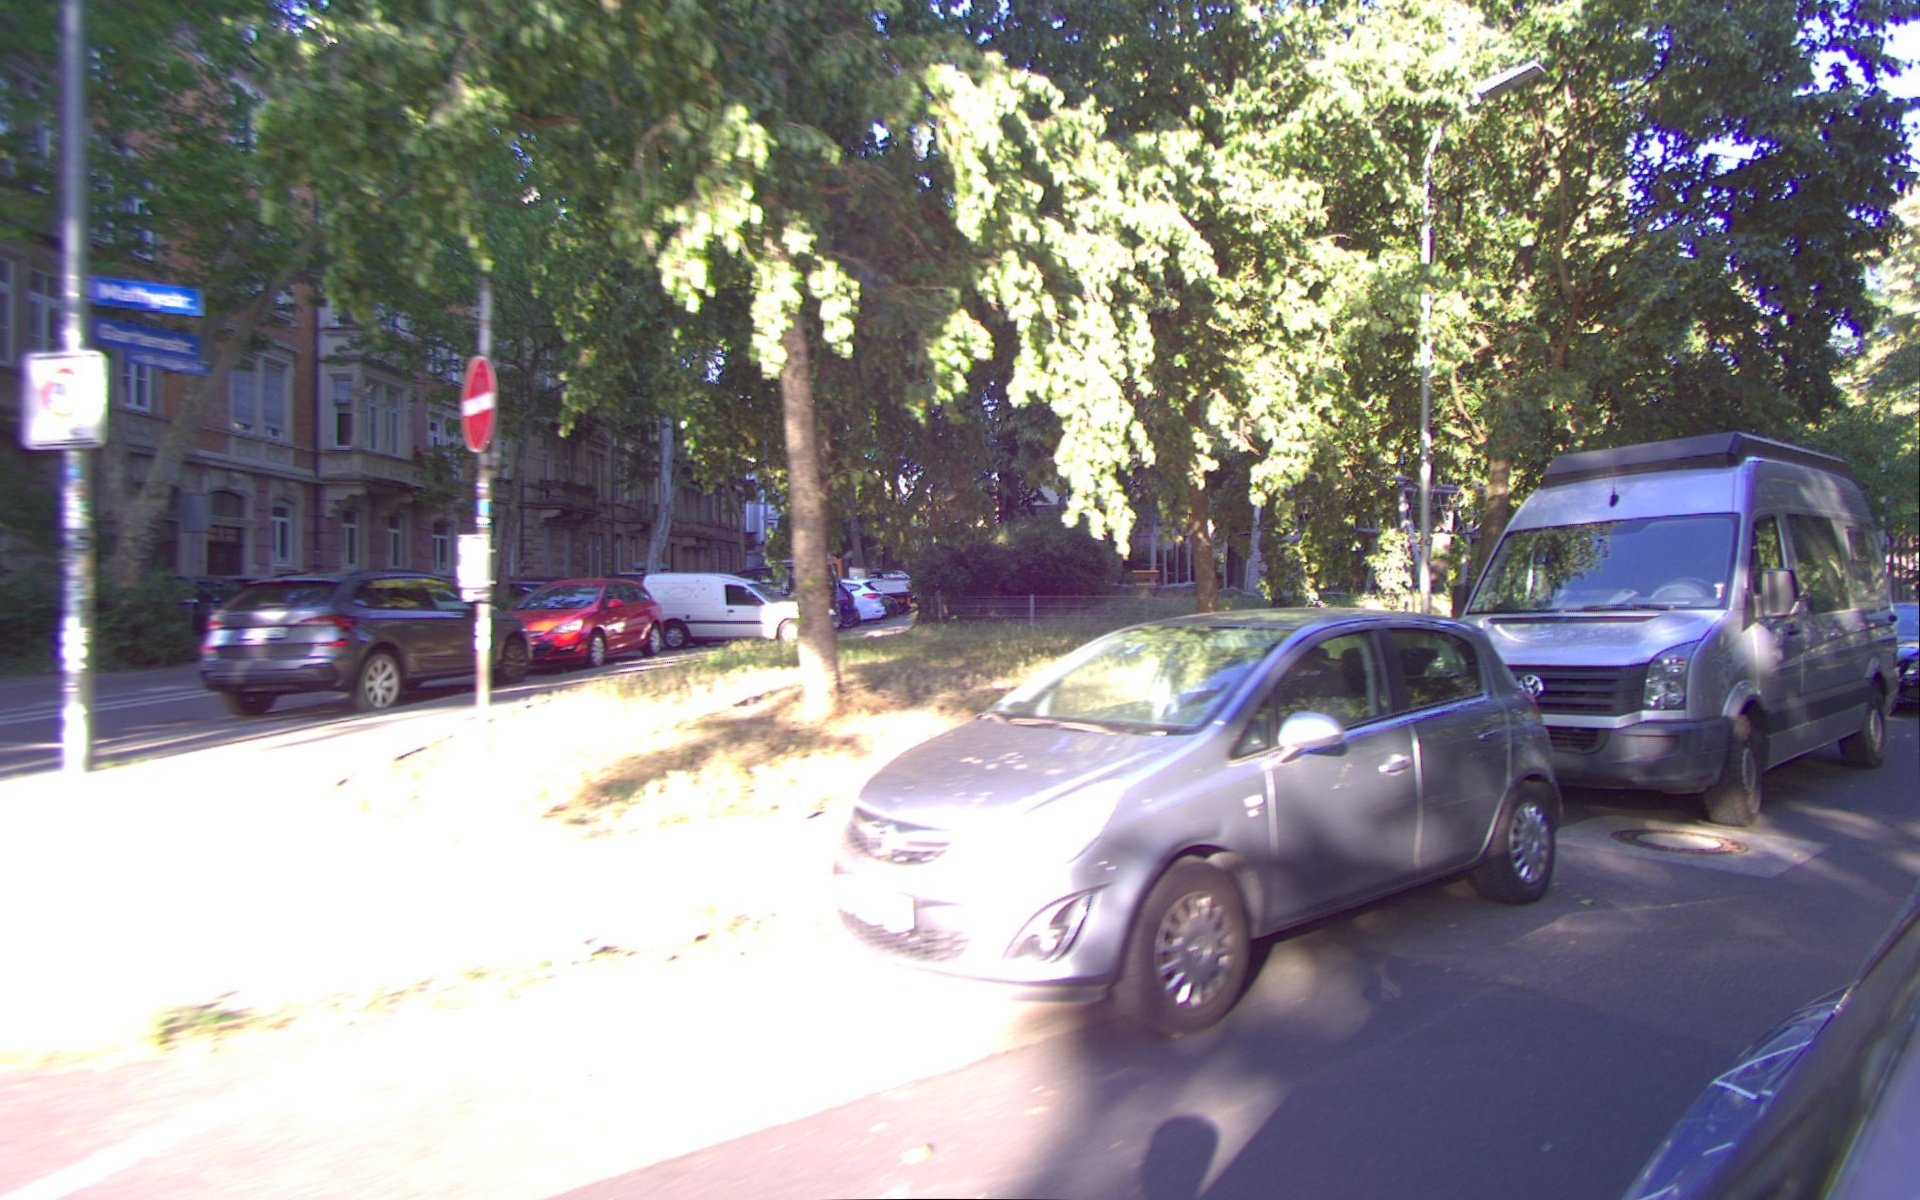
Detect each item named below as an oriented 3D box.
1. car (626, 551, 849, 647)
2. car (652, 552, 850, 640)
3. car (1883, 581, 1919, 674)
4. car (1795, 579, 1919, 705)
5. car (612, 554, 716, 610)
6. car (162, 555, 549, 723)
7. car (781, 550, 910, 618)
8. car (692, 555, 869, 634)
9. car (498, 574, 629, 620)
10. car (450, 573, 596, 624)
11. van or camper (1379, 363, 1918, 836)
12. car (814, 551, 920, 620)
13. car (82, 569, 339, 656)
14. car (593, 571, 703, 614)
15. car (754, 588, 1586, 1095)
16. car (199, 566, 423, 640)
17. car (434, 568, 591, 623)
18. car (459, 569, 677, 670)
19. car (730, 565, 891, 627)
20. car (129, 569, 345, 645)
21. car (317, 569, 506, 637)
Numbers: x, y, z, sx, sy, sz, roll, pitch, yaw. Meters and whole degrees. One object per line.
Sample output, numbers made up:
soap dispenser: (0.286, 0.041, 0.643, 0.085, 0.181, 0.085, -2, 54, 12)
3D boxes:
car: (-4.736, -0.007, 21.871, 4.325, 1.729, 1.731, -4, 0, 7)
car: (-5.013, -0.088, 24.564, 4.325, 1.799, 1.783, -4, 0, 7)
car: (17.868, 0.442, 17.875, 4.210, 1.545, 1.684, 0, 0, -39)
car: (13.264, 0.497, 14.085, 4.408, 1.545, 1.684, 0, 0, -39)
car: (-14.224, -0.866, 48.807, 4.502, 2.534, 1.735, 2, 0, -2)
car: (-6.884, 0.365, 12.163, 1.712, 1.571, 4.269, -3, 0, 6)
car: (-4.159, -0.591, 37.245, 4.554, 2.443, 1.607, 0, 0, 1)
car: (-4.798, -0.133, 27.397, 4.325, 1.799, 1.783, -4, 0, 7)
car: (-15.287, -0.123, 39.162, 4.397, 1.651, 1.735, 2, 0, -2)
car: (-15.440, -0.070, 35.915, 4.397, 1.651, 1.736, 2, 1, -2)
van or camper: (6.071, -0.025, 8.569, 5.738, 2.797, 2.089, 0, 0, -38)
car: (-4.111, -0.632, 44.962, 4.554, 3.004, 1.607, 0, 0, 1)
car: (-14.798, 0.228, 20.166, 3.703, 1.638, 1.910, 0, 1, -3)
car: (-14.166, -0.337, 46.108, 4.502, 1.788, 1.735, 2, 0, -2)
car: (1.153, 0.716, 4.755, 3.799, 1.465, 1.685, 0, -2, -36)
car: (-15.997, 0.060, 25.097, 4.397, 1.651, 1.735, 2, 0, -2)
car: (-14.755, -0.138, 33.502, 4.397, 1.651, 1.735, 2, 0, -2)
car: (-6.549, 0.248, 17.520, 1.712, 1.467, 4.642, -2, 1, 3)
car: (-4.342, -0.115, 29.694, 4.325, 1.511, 1.783, -4, 0, 7)
car: (-15.881, 0.136, 22.357, 3.577, 1.616, 1.652, 0, 0, -2)
car: (-14.856, 0.054, 27.473, 4.414, 1.651, 1.729, 2, 0, 12)
